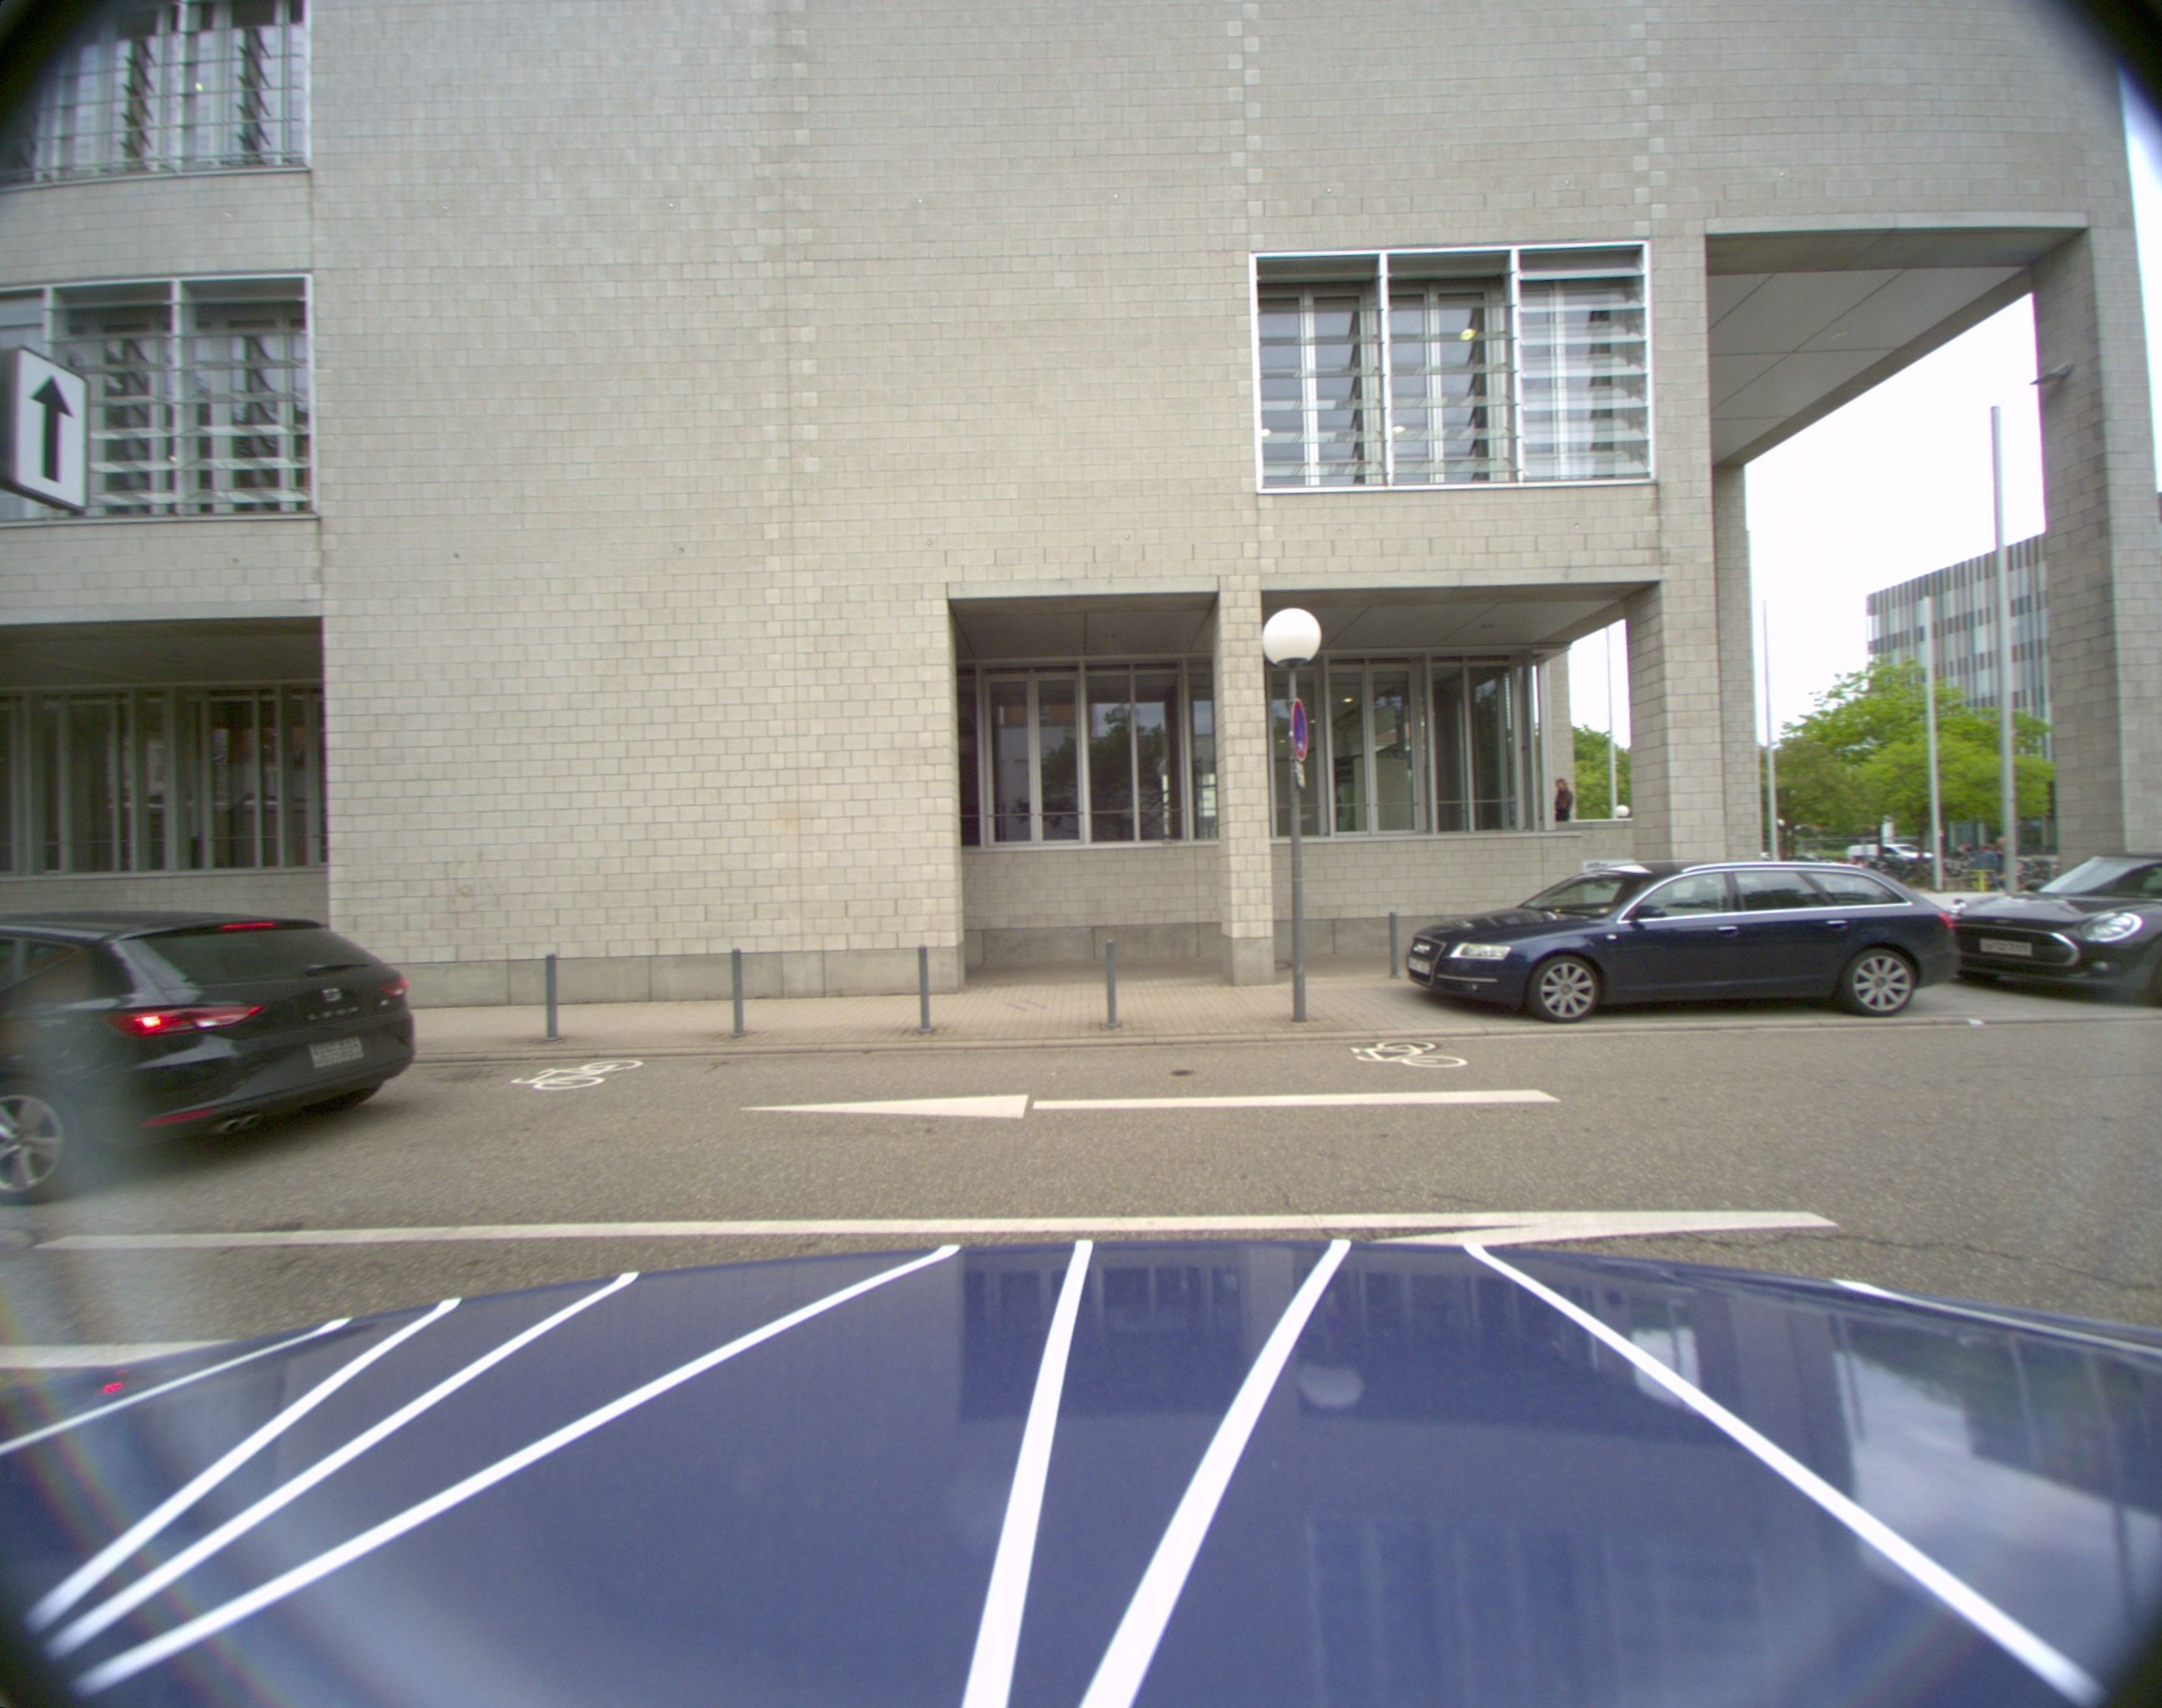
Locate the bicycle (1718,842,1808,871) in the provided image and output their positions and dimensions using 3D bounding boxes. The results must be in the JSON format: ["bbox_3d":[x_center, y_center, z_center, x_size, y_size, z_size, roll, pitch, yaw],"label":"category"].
[{"bbox_3d":[29.539,0.110,32.928,3.105,1.163,0.748,-2,0,2],"label":"bicycle"}]

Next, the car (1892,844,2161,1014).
[{"bbox_3d":[11.547,0.645,7.819,4.517,1.435,1.823,-2,1,-1],"label":"car"}]

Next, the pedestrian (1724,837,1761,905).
[{"bbox_3d":[16.964,0.439,19.498,0.646,1.702,0.784,-2,-2,38],"label":"pedestrian"}]

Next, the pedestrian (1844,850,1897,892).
[{"bbox_3d":[27.594,0.597,26.576,0.969,1.412,0.851,-1,-1,-11],"label":"pedestrian"}]

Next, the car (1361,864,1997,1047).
[{"bbox_3d":[5.721,0.922,7.800,4.919,1.443,2.000,-2,0,0],"label":"car"}]

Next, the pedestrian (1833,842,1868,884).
[{"bbox_3d":[26.606,0.311,26.271,0.771,1.405,0.672,-2,0,-31],"label":"pedestrian"}]

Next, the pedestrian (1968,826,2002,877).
[{"bbox_3d":[32.708,-0.094,27.490,0.671,1.822,0.512,-2,0,40],"label":"pedestrian"}]

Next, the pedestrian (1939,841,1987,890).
[{"bbox_3d":[31.194,0.397,26.869,0.970,1.694,0.850,-2,1,-23],"label":"pedestrian"}]

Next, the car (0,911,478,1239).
[{"bbox_3d":[-6.321,1.152,4.440,4.126,1.410,1.788,-2,-1,-1],"label":"car"}]

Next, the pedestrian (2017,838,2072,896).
[{"bbox_3d":[28.118,0.382,22.192,0.756,1.659,0.707,-2,-1,33],"label":"pedestrian"}]

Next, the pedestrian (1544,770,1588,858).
[{"bbox_3d":[9.513,-0.758,14.927,0.630,1.648,0.808,0,-1,25],"label":"pedestrian"}]

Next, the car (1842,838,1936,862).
[{"bbox_3d":[62.022,-0.306,58.460,1.999,1.652,4.840,-2,-1,-2],"label":"car"}]
